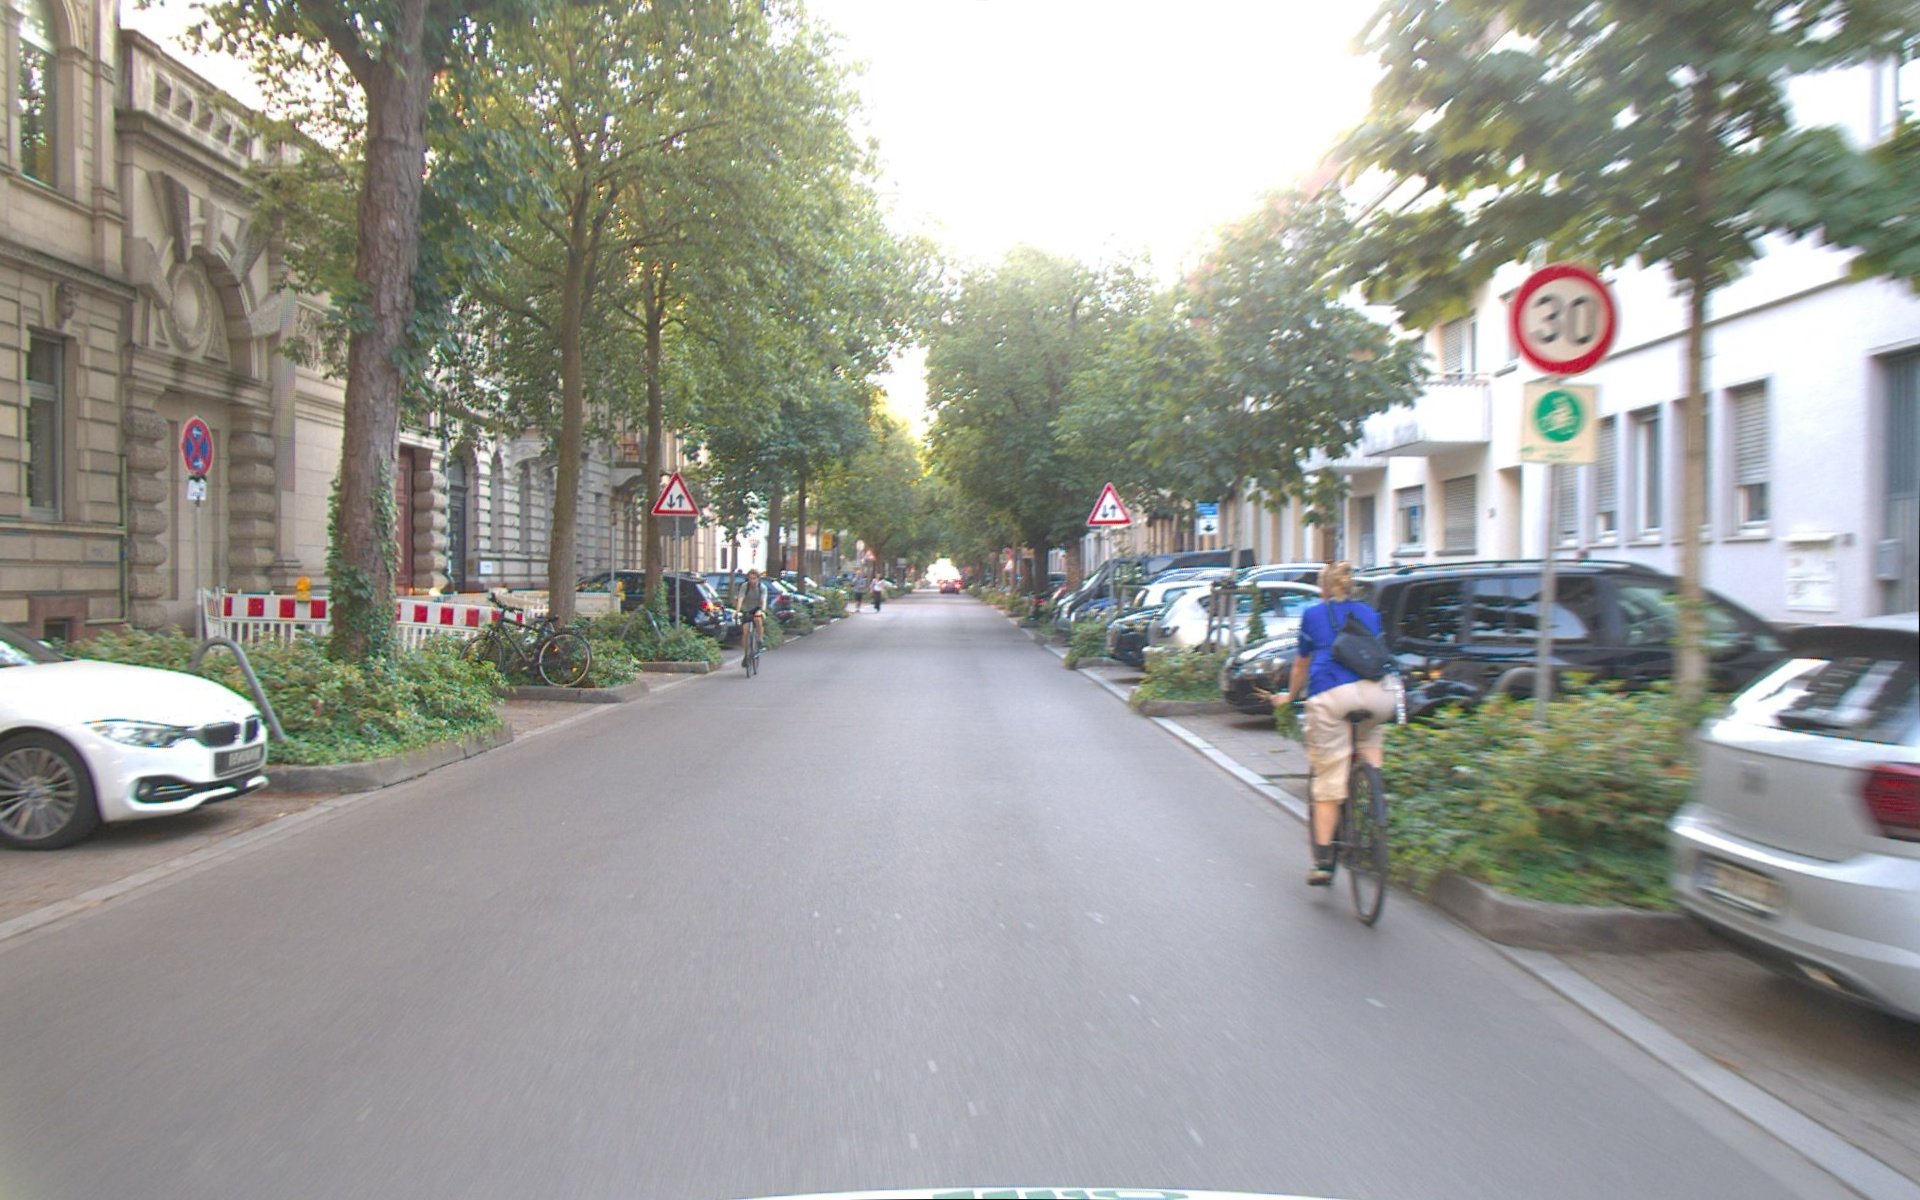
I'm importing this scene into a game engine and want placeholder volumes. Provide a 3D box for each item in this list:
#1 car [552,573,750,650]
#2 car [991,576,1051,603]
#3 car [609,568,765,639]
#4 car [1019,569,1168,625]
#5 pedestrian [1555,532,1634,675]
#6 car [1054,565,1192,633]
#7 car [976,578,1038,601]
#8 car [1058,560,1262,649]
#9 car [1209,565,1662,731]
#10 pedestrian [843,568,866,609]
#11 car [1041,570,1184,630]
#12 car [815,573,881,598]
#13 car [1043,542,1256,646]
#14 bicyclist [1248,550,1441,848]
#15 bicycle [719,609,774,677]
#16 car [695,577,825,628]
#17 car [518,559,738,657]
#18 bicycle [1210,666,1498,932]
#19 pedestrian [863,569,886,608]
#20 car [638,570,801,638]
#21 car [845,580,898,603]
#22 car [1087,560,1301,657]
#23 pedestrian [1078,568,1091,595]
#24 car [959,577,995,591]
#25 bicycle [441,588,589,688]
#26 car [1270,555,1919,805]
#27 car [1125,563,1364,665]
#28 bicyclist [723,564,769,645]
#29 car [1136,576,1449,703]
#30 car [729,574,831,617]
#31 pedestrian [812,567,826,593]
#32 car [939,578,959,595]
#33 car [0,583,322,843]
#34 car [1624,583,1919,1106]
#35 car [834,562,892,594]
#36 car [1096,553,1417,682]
[{"bbox_3d":[-6.634,0.230,35.813,3.884,1.411,1.765,3,1,0],"label":"car"},{"bbox_3d":[3.612,-0.617,98.245,3.414,1.478,1.898,-2,1,-3],"label":"car"},{"bbox_3d":[-6.986,0.072,42.553,3.724,1.701,1.714,1,1,-2],"label":"car"},{"bbox_3d":[4.095,-0.097,51.095,4.313,1.418,1.885,-4,1,-3],"label":"car"},{"bbox_3d":[8.255,0.039,21.549,0.683,1.826,0.881,-1,1,0],"label":"pedestrian"},{"bbox_3d":[4.496,-0.030,45.993,3.605,1.606,1.714,-4,0,0],"label":"car"},{"bbox_3d":[3.558,-0.796,125.040,4.620,1.740,1.950,0,1,1],"label":"car"},{"bbox_3d":[4.299,0.086,35.946,4.073,1.606,1.969,-4,0,-2],"label":"car"},{"bbox_3d":[4.906,0.467,17.450,4.228,1.522,1.793,-2,0,-2],"label":"car"},{"bbox_3d":[-4.635,-0.491,72.507,0.783,1.767,0.826,-1,0,-20],"label":"pedestrian"},{"bbox_3d":[4.444,0.003,48.613,3.908,1.462,1.926,-4,1,-2],"label":"car"},{"bbox_3d":[-7.036,-0.891,104.130,4.044,1.512,1.929,0,0,-2],"label":"car"},{"bbox_3d":[4.366,-0.150,38.568,4.595,2.046,2.037,-4,0,-2],"label":"car"},{"bbox_3d":[1.877,0.464,8.152,0.660,1.387,0.775,1,0,-10],"label":"bicyclist"},{"bbox_3d":[-3.462,0.683,26.915,0.658,1.011,1.758,-1,1,0],"label":"bicycle"},{"bbox_3d":[-6.247,0.073,51.897,3.865,1.559,1.907,1,0,-2],"label":"car"},{"bbox_3d":[-6.469,0.149,32.539,3.885,1.624,1.780,4,0,-1],"label":"car"},{"bbox_3d":[1.864,0.903,8.160,0.660,1.048,1.973,1,0,-9],"label":"bicycle"},{"bbox_3d":[-3.774,-0.497,72.656,0.783,1.699,0.826,-1,0,-20],"label":"pedestrian"},{"bbox_3d":[-6.497,0.098,44.989,4.115,1.701,1.907,1,1,-1],"label":"car"},{"bbox_3d":[-7.782,-0.733,145.768,4.587,1.886,1.963,-2,0,-1],"label":"car"},{"bbox_3d":[4.596,0.153,32.911,3.886,1.606,1.851,-4,0,-2],"label":"car"},{"bbox_3d":[7.192,-1.073,95.464,0.641,1.563,0.831,-1,0,0],"label":"pedestrian"},{"bbox_3d":[2.050,-1.893,196.606,4.181,1.593,1.963,-2,0,-1],"label":"car"},{"bbox_3d":[-5.639,0.476,20.981,1.734,1.253,0.500,0,-1,4],"label":"bicycle"},{"bbox_3d":[4.463,0.521,12.089,4.025,1.645,1.961,-1,1,0],"label":"car"},{"bbox_3d":[4.834,0.218,28.402,3.717,1.448,1.697,-4,0,-2],"label":"car"},{"bbox_3d":[-3.471,0.067,26.883,0.658,1.285,0.648,-1,1,-1],"label":"bicyclist"},{"bbox_3d":[4.594,0.526,23.279,3.990,1.454,1.818,-4,0,1],"label":"car"},{"bbox_3d":[-6.690,-0.182,61.740,3.617,1.483,1.872,1,1,-2],"label":"car"},{"bbox_3d":[-9.796,-1.370,114.661,0.689,1.787,0.739,0,0,23],"label":"pedestrian"},{"bbox_3d":[-1.132,-1.314,165.659,1.917,1.593,4.282,-2,0,0],"label":"car"},{"bbox_3d":[-6.444,0.604,9.992,4.419,1.414,1.917,0,0,1],"label":"car"},{"bbox_3d":[4.549,0.670,5.583,3.905,1.462,1.794,-1,1,0],"label":"car"},{"bbox_3d":[-7.785,-1.757,133.335,4.587,2.521,2.000,0,0,-1],"label":"car"},{"bbox_3d":[4.490,0.244,25.502,4.498,1.606,1.943,-4,0,-2],"label":"car"}]
